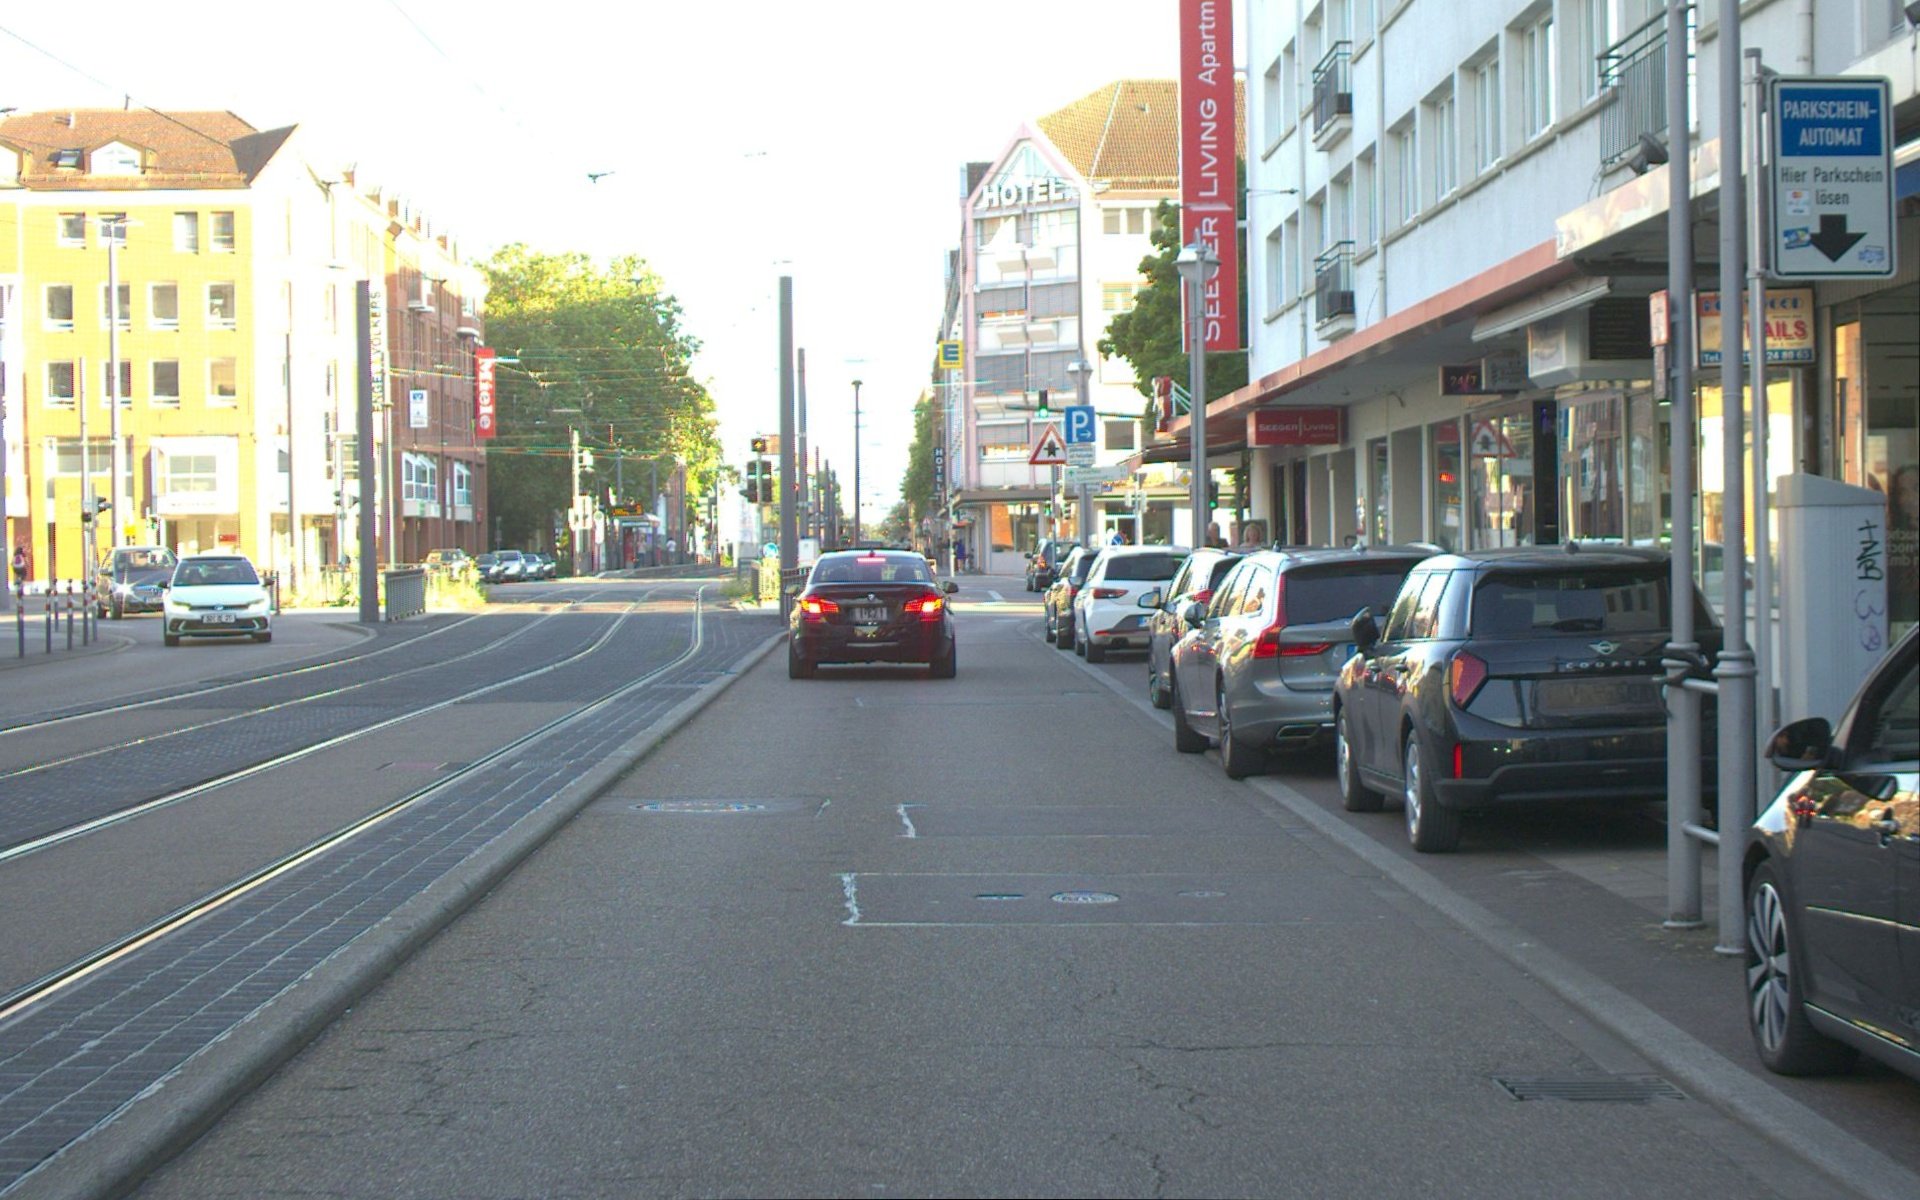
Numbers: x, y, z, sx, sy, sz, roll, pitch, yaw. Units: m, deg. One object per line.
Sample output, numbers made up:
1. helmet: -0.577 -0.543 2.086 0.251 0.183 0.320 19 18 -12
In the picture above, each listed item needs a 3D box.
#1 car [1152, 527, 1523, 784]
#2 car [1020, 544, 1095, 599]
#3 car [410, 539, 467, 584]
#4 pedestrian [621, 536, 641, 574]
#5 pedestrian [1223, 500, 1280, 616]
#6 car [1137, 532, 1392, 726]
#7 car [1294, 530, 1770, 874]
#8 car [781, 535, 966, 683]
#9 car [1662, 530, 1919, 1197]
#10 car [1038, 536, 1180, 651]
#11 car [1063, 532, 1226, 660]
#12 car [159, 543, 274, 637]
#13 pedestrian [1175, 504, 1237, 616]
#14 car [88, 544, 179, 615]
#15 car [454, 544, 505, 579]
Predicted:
1. car: 2.445 0.299 23.396 1.789 1.507 4.712 -2 1 -2
2. car: 2.823 -0.845 100.107 1.993 1.546 4.000 -1 1 -1
3. car: -22.612 -1.683 149.096 1.993 1.895 4.812 -1 1 -4
4. pedestrian: -17.546 -2.416 183.409 0.988 2.007 0.726 1 1 -2
5. pedestrian: 4.458 -0.645 52.537 0.728 1.735 0.863 -2 1 -1
6. car: 2.560 0.193 29.826 1.735 1.507 4.304 -2 1 -1
7. car: 2.800 0.425 17.663 1.685 1.507 4.035 -2 1 -1
8. car: -0.986 0.065 39.575 1.993 1.579 4.000 -1 1 -1
9. car: 3.032 0.577 8.334 1.720 1.507 4.167 -2 1 -1
10. car: 2.094 -0.130 49.359 1.735 1.507 4.686 -2 1 -1
11. car: 2.320 -0.089 44.066 1.785 1.507 4.052 -2 1 -1
12. car: -12.526 -0.199 58.032 1.806 1.507 4.036 -1 1 -12
13. pedestrian: 3.823 -0.626 53.494 0.827 1.712 0.843 -2 1 0
14. car: -18.276 -0.468 76.150 1.735 1.507 4.036 -1 1 -10
15. car: -22.326 -1.803 159.816 1.993 1.579 4.588 -1 1 -3
